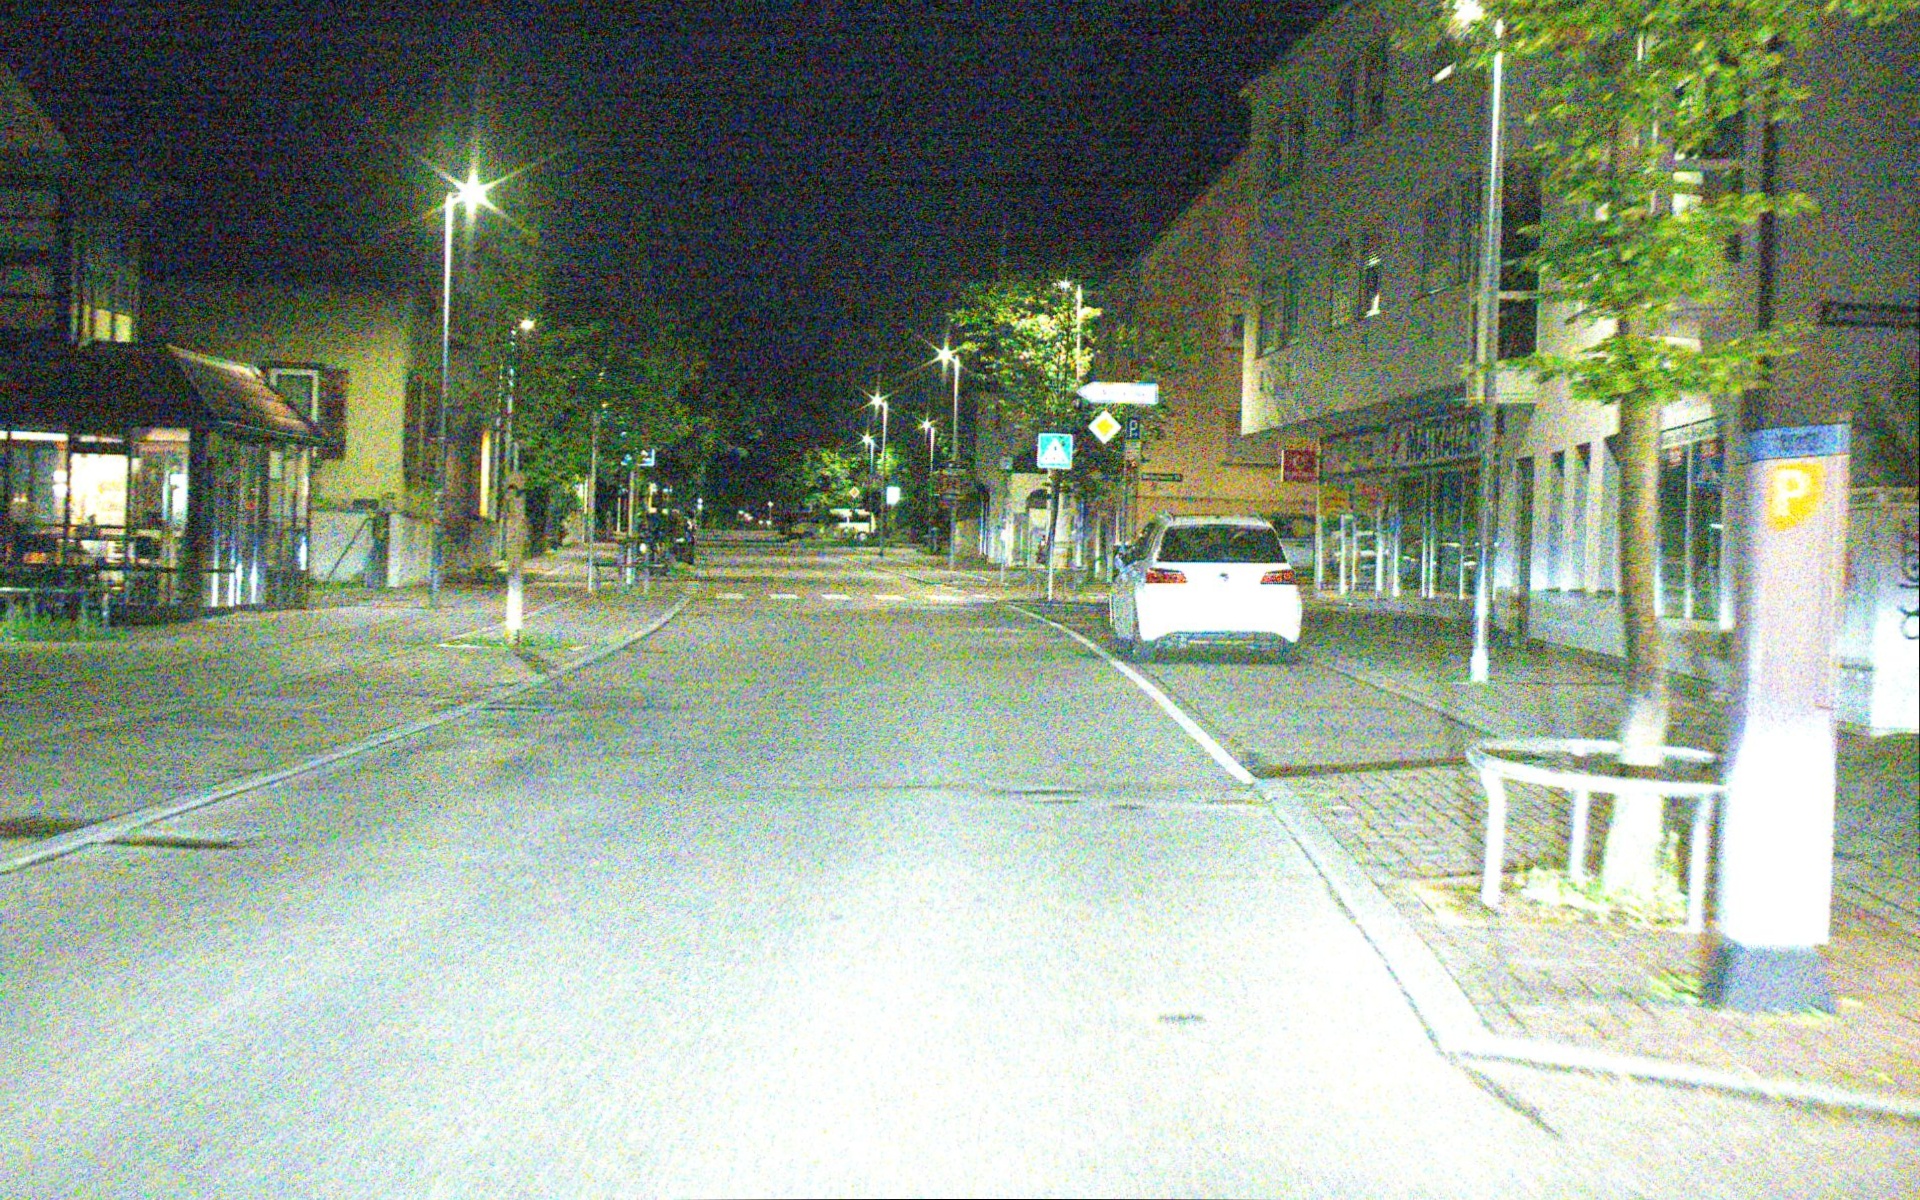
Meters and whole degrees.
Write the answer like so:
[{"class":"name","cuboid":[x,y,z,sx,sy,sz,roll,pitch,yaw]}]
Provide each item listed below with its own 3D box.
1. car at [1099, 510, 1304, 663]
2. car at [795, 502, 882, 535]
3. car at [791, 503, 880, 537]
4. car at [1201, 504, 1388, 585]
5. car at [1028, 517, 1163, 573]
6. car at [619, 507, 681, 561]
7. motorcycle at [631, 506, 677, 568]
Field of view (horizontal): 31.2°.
[{"class":"car","cuboid":[2.572,-0.191,37.493,1.742,1.563,4.209,0,1,-3]},{"class":"car","cuboid":[-7.445,-4.962,209.596,5.181,2.007,2.102,0,2,-5]},{"class":"car","cuboid":[-7.479,-4.839,206.523,5.181,2.007,2.102,0,2,-5]},{"class":"car","cuboid":[6.871,-1.153,70.859,3.505,1.519,1.821,-2,1,-5]},{"class":"car","cuboid":[3.865,-1.573,98.191,3.711,1.468,1.731,1,1,-1]},{"class":"car","cuboid":[-9.098,-1.954,101.135,1.688,1.505,4.279,1,1,-4]},{"class":"motorcycle","cuboid":[-7.277,-1.508,81.856,0.746,1.447,2.195,1,1,4]}]
